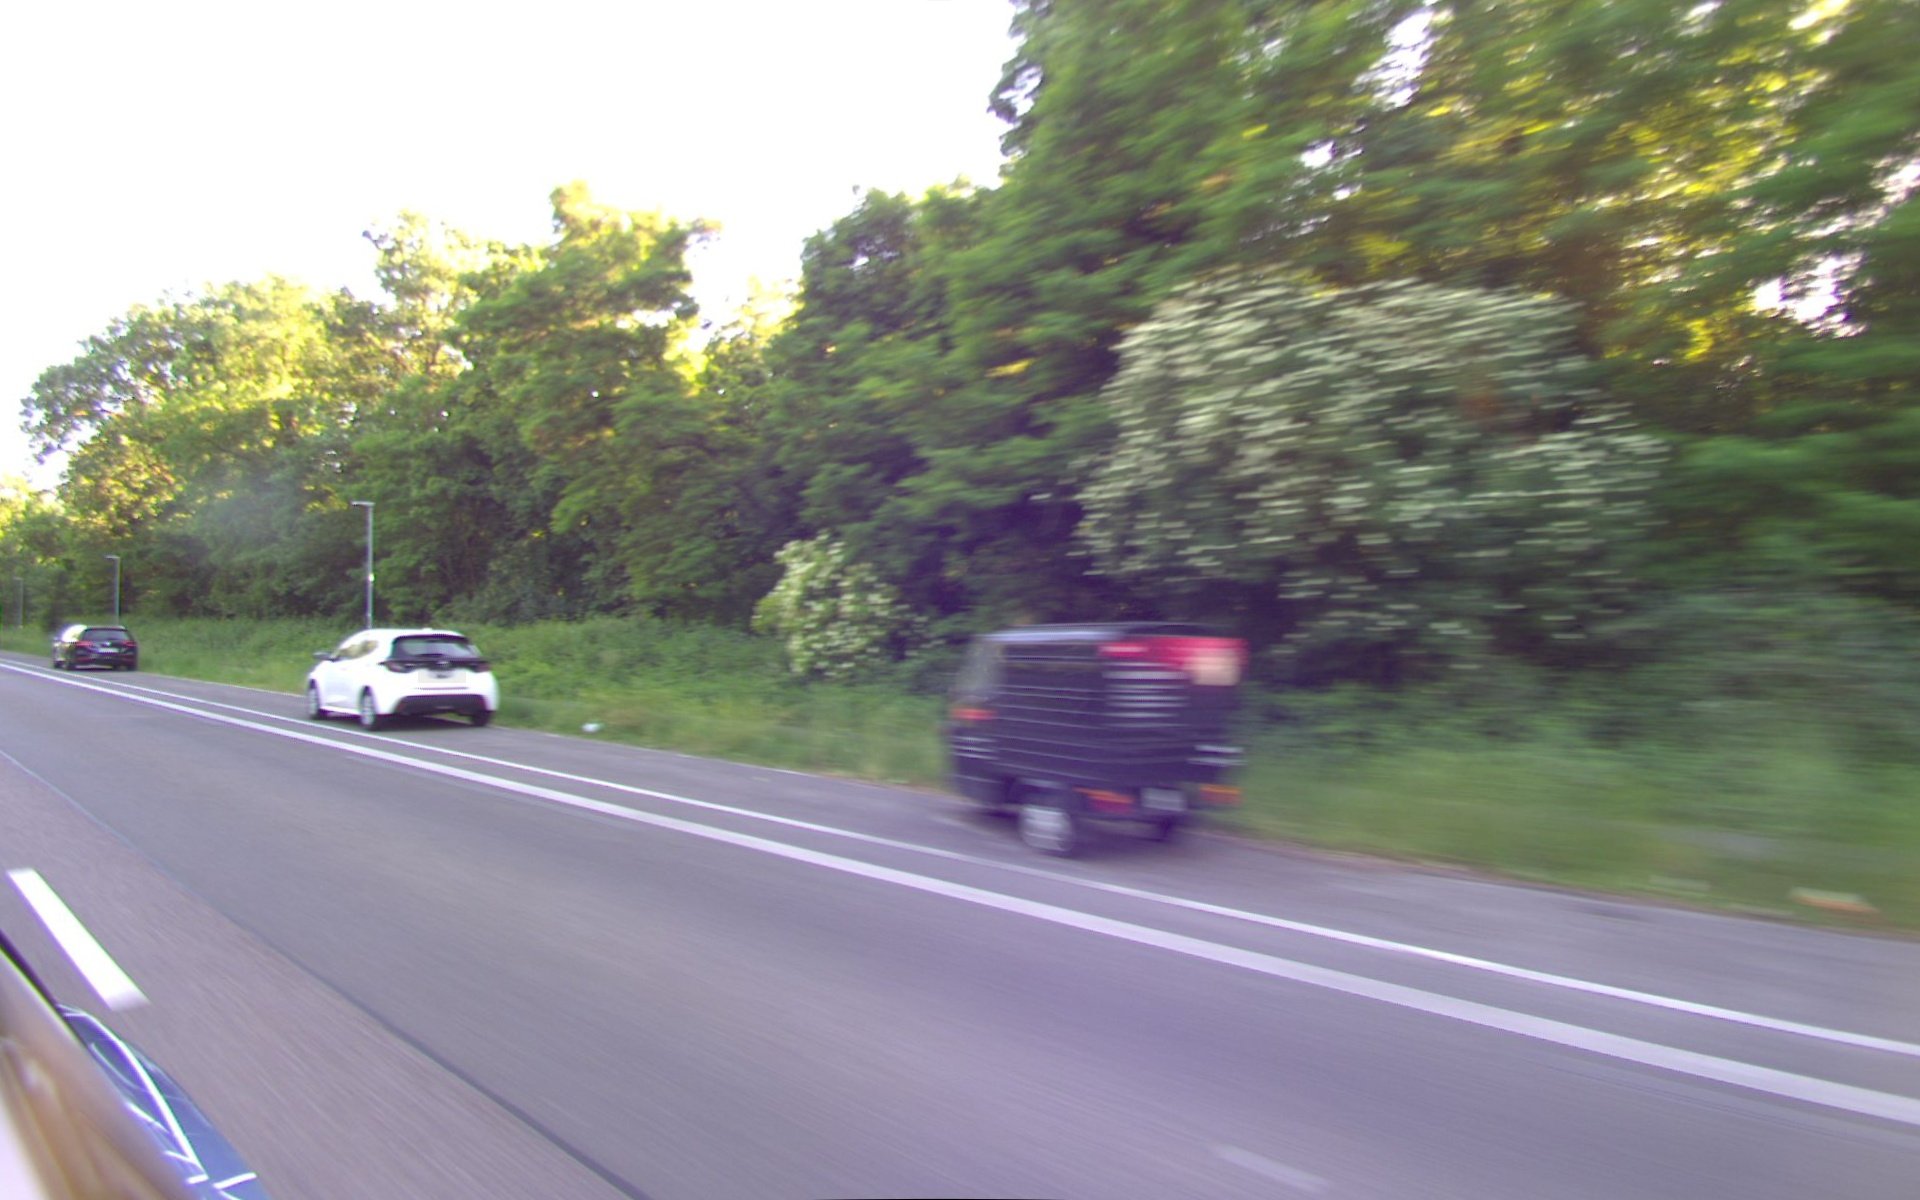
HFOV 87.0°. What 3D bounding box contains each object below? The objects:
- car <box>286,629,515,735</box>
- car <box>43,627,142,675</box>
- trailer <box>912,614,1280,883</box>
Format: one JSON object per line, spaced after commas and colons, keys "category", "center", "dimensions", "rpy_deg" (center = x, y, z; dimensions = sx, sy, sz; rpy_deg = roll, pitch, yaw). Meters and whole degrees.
{"category": "car", "center": [-8.907, 1.221, 15.987], "dimensions": [4.069, 1.462, 1.847], "rpy_deg": [-1, -4, 41]}
{"category": "car", "center": [-28.872, 1.641, 33.631], "dimensions": [4.781, 1.475, 1.835], "rpy_deg": [-1, -2, 41]}
{"category": "trailer", "center": [0.854, 0.911, 7.510], "dimensions": [1.376, 1.586, 2.683], "rpy_deg": [0, -1, -29]}
